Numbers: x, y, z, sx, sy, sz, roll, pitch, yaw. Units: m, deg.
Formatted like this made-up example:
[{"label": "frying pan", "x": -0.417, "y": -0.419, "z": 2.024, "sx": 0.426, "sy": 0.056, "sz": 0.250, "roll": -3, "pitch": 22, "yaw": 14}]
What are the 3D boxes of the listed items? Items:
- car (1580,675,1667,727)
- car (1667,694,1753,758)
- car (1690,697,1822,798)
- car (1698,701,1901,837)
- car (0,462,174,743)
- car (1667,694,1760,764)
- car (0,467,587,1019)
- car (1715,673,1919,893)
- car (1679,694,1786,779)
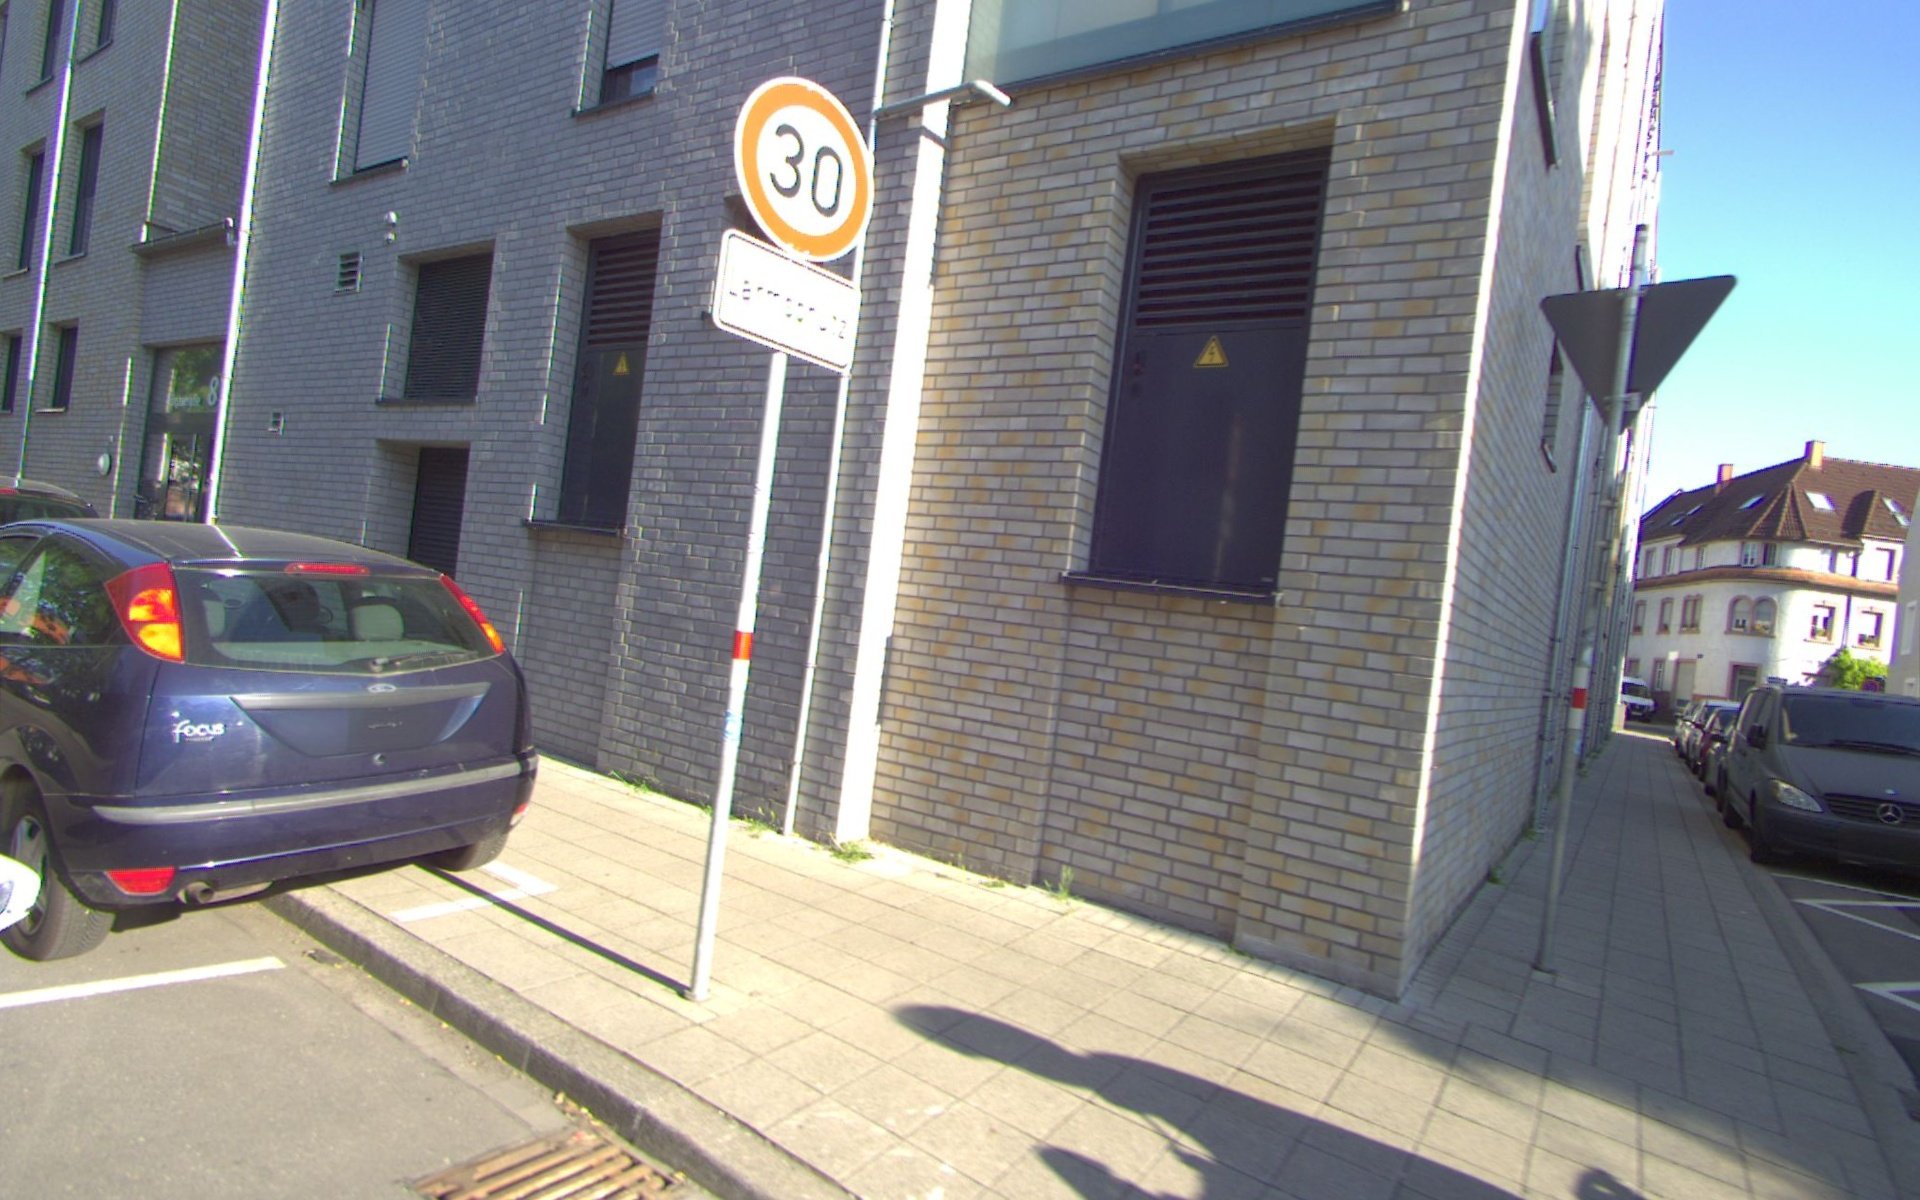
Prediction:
[{"label": "car", "x": 36.905, "y": 5.557, "z": 56.158, "sx": 1.974, "sy": 2.334, "sz": 5.608, "roll": 6, "pitch": -1, "yaw": 13}, {"label": "car", "x": 23.975, "y": 3.973, "z": 32.291, "sx": 1.834, "sy": 1.672, "sz": 4.446, "roll": 6, "pitch": -1, "yaw": 34}, {"label": "car", "x": 15.814, "y": 2.862, "z": 20.143, "sx": 1.637, "sy": 1.596, "sz": 3.621, "roll": 6, "pitch": -1, "yaw": 34}, {"label": "car", "x": 12.632, "y": 2.434, "z": 15.428, "sx": 1.801, "sy": 1.496, "sz": 4.389, "roll": 6, "pitch": -1, "yaw": 34}, {"label": "car", "x": -7.510, "y": -0.163, "z": 7.177, "sx": 3.850, "sy": 1.722, "sz": 1.667, "roll": 7, "pitch": -2, "yaw": 33}, {"label": "car", "x": 22.259, "y": 3.743, "z": 29.865, "sx": 1.834, "sy": 1.672, "sz": 4.446, "roll": 6, "pitch": -1, "yaw": 34}, {"label": "car", "x": -3.778, "y": 0.294, "z": 4.692, "sx": 4.002, "sy": 1.607, "sz": 1.630, "roll": 6, "pitch": 1, "yaw": 32}, {"label": "car", "x": 9.781, "y": 1.841, "z": 11.159, "sx": 1.834, "sy": 1.804, "sz": 4.606, "roll": 6, "pitch": 1, "yaw": 34}, {"label": "car", "x": 18.294, "y": 3.168, "z": 23.950, "sx": 1.637, "sy": 1.621, "sz": 3.662, "roll": 6, "pitch": -1, "yaw": 34}]
